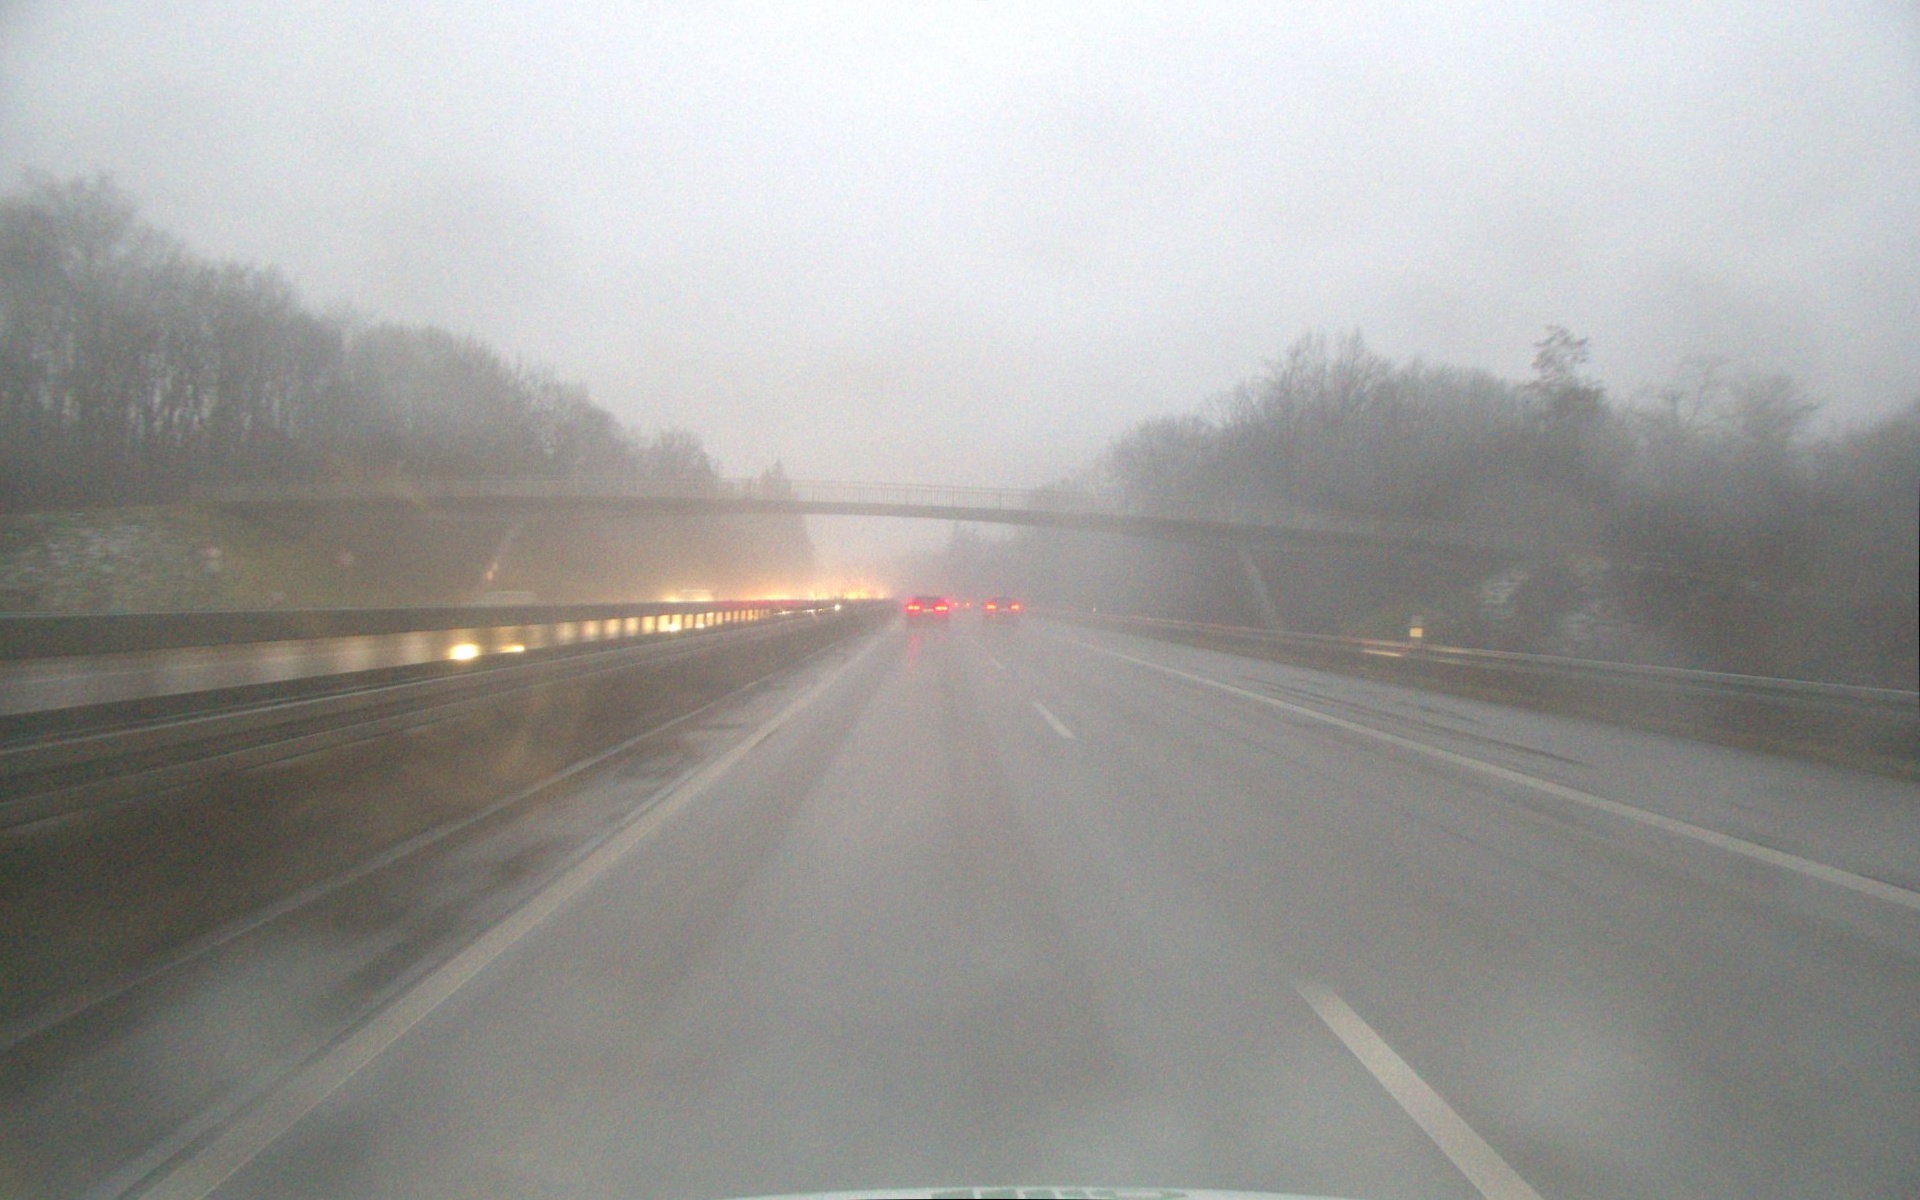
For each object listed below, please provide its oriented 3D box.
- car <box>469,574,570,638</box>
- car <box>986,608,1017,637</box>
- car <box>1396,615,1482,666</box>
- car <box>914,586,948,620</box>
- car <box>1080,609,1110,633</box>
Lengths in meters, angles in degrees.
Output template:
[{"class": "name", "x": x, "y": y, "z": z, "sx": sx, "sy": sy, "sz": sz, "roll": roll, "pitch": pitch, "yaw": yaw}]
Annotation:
[{"class": "car", "x": -12.777, "y": 0.153, "z": 48.201, "sx": 1.846, "sy": 1.713, "sz": 3.999, "roll": 3, "pitch": 0, "yaw": -1}, {"class": "car", "x": 2.142, "y": 1.174, "z": 86.437, "sx": 1.424, "sy": 1.454, "sz": 3.489, "roll": 2, "pitch": 0, "yaw": -1}, {"class": "car", "x": 13.858, "y": 1.160, "z": 48.032, "sx": 1.424, "sy": 1.367, "sz": 3.489, "roll": 2, "pitch": 0, "yaw": -1}, {"class": "car", "x": -1.234, "y": 0.133, "z": 71.292, "sx": 1.424, "sy": 1.367, "sz": 3.489, "roll": 1, "pitch": 0, "yaw": -1}, {"class": "car", "x": 7.992, "y": 1.247, "z": 98.175, "sx": 1.424, "sy": 1.367, "sz": 3.489, "roll": 2, "pitch": 0, "yaw": -1}]
